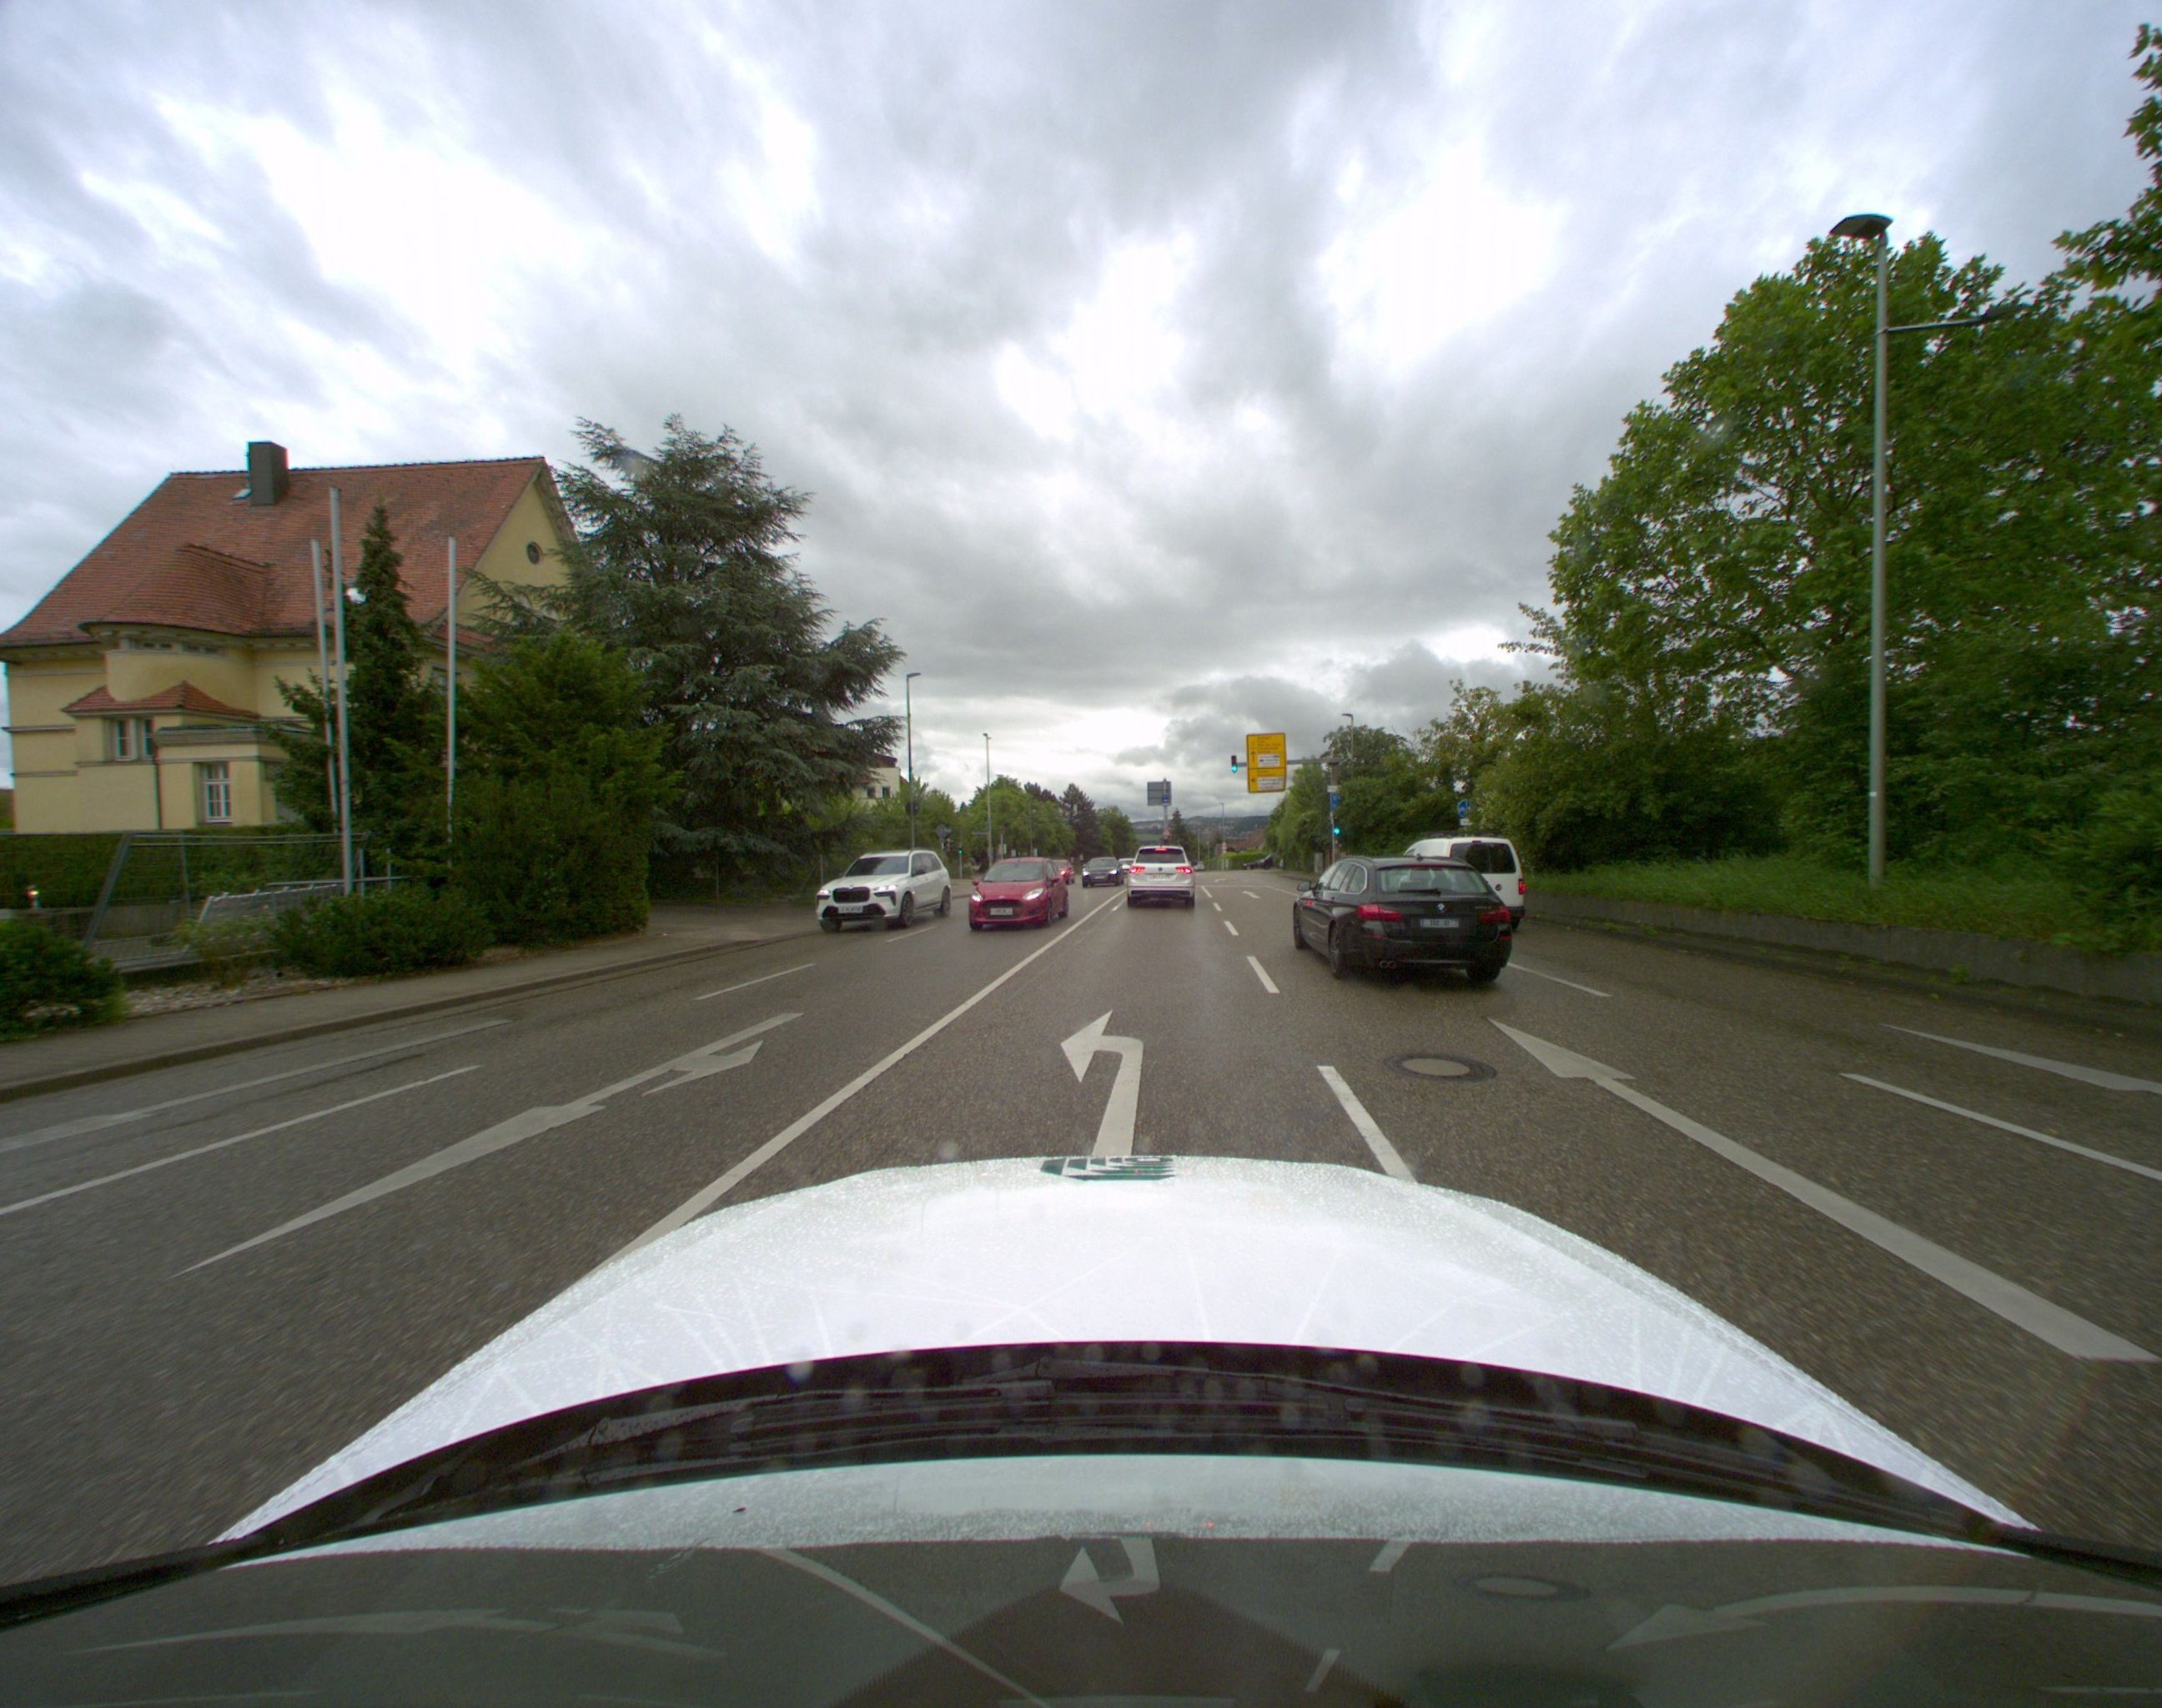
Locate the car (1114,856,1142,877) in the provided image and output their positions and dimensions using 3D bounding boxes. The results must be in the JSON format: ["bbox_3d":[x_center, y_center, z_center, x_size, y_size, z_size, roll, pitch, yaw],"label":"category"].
[{"bbox_3d":[3.651,0.933,62.780,1.739,1.385,4.420,-3,0,7],"label":"car"}]

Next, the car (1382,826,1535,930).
[{"bbox_3d":[7.641,0.389,16.897,1.755,1.877,3.813,-1,2,6],"label":"car"}]

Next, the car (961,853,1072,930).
[{"bbox_3d":[-1.312,0.755,18.151,1.672,1.419,3.848,-3,0,7],"label":"car"}]

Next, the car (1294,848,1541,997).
[{"bbox_3d":[4.029,0.700,10.529,1.889,1.441,4.008,2,1,6],"label":"car"}]

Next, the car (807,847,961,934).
[{"bbox_3d":[-4.616,0.780,20.030,1.907,1.763,5.153,-4,0,7],"label":"car"}]

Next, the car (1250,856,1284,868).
[{"bbox_3d":[22.832,0.987,99.971,3.962,1.376,1.589,0,0,10],"label":"car"}]

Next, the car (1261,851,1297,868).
[{"bbox_3d":[22.894,0.655,94.199,3.962,1.956,1.589,0,0,10],"label":"car"}]

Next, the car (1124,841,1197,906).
[{"bbox_3d":[2.286,0.539,23.025,1.859,1.674,4.007,-1,-1,6],"label":"car"}]

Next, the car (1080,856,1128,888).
[{"bbox_3d":[1.213,0.830,40.393,1.882,1.404,4.274,-2,0,8],"label":"car"}]

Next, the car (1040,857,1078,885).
[{"bbox_3d":[-1.247,0.970,47.823,1.623,1.456,3.708,-3,0,6],"label":"car"}]

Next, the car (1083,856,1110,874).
[{"bbox_3d":[1.312,0.934,68.314,1.765,1.385,4.557,-2,0,6],"label":"car"}]
